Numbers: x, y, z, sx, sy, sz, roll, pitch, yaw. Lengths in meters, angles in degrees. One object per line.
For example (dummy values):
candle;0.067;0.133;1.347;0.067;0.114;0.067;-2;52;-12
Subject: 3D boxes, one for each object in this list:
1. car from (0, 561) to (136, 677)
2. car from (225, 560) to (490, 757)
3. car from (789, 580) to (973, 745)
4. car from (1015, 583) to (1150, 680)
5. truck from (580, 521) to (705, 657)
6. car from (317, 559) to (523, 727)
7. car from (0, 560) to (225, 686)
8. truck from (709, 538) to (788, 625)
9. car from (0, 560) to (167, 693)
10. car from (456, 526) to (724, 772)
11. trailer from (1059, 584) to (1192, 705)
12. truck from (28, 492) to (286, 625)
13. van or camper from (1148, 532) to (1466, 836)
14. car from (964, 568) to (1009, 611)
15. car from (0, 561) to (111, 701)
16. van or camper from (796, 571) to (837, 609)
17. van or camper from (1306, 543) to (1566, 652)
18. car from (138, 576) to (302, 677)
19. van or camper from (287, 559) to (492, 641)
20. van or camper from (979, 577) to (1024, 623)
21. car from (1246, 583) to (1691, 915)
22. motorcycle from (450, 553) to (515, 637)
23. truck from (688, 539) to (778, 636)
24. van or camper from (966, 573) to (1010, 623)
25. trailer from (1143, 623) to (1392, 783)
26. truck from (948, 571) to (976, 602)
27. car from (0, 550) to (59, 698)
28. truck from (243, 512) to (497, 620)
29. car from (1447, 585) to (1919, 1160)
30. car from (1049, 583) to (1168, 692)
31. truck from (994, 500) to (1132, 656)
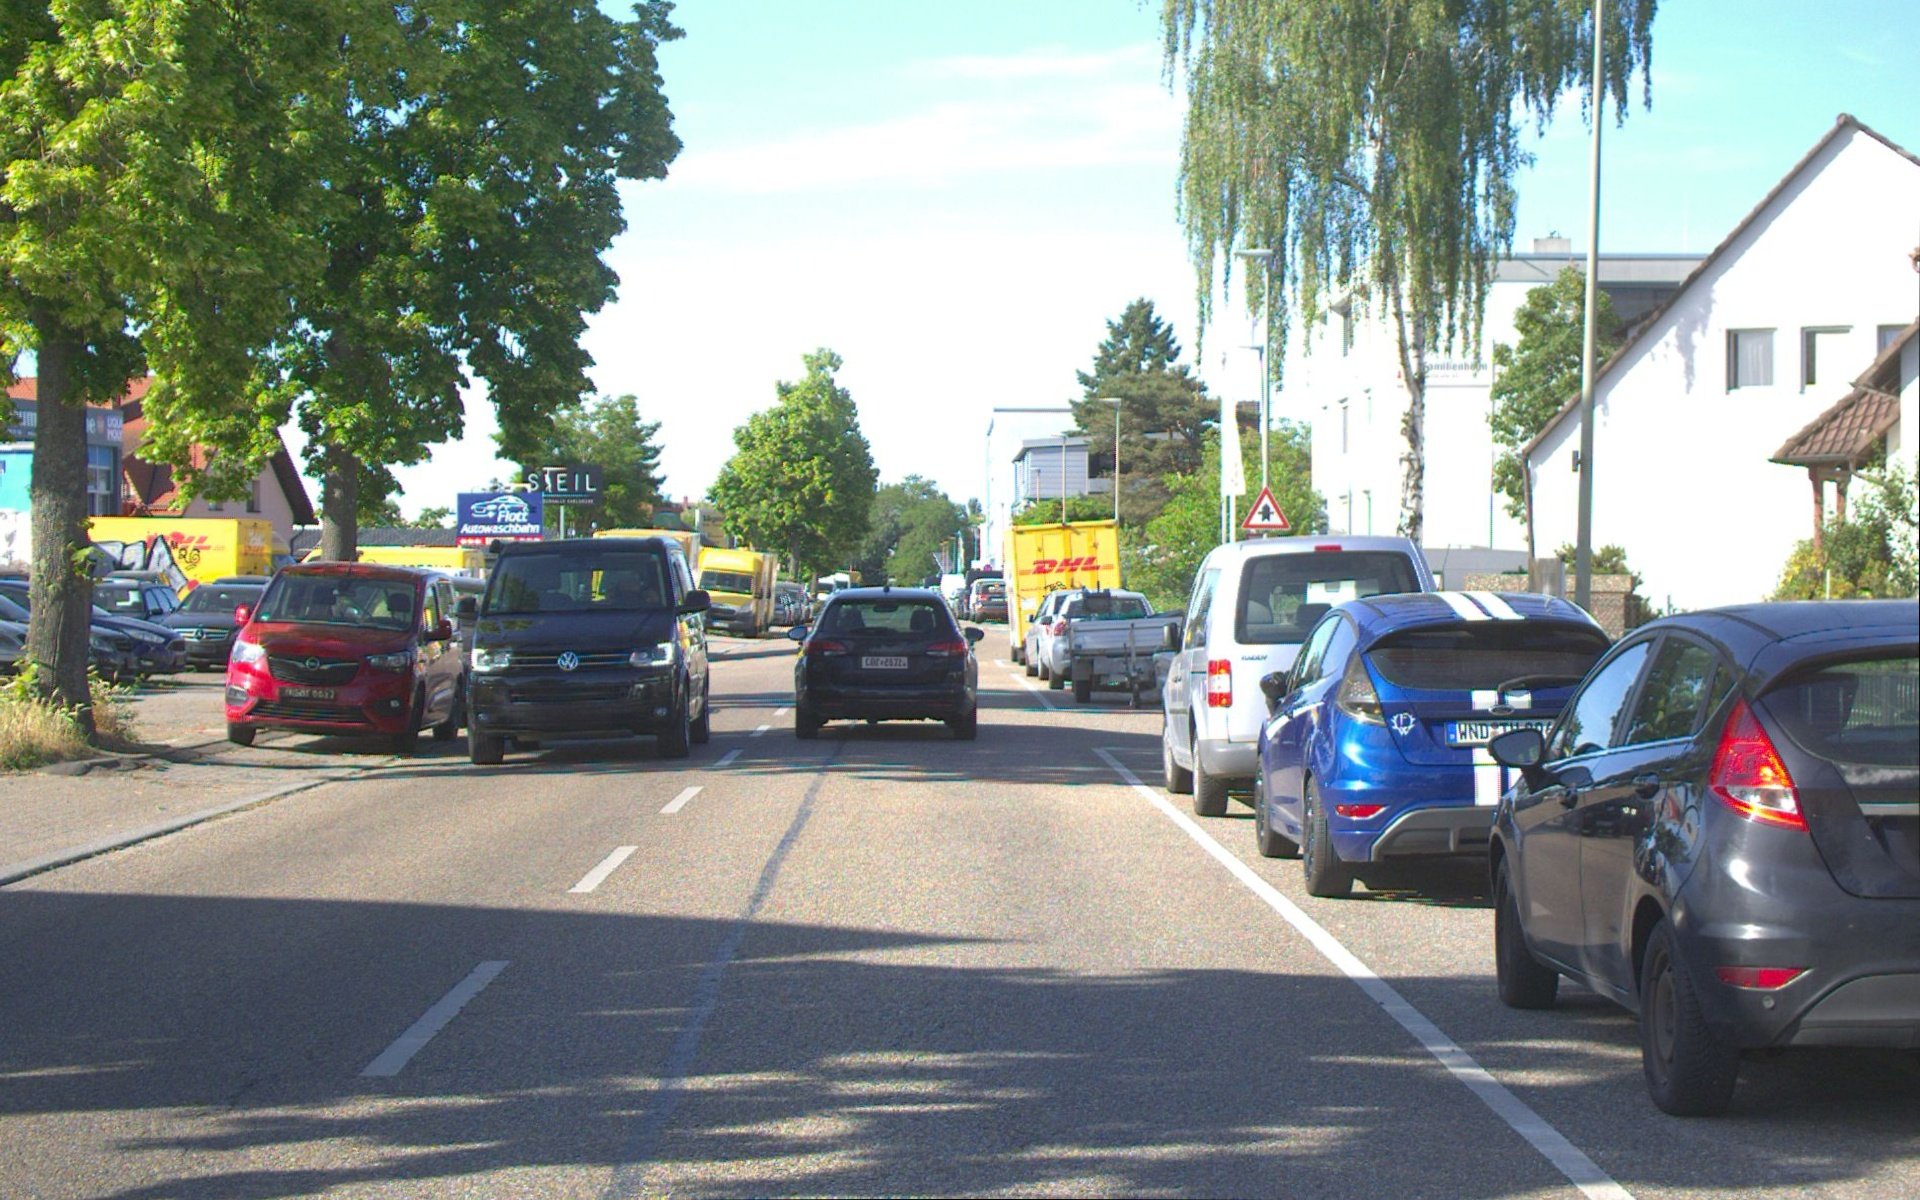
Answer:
car;-15.238;0.277;56.452;1.777;1.742;4.162;0;2;11
car;-5.821;0.524;33.698;1.803;1.746;4.342;2;0;0
car;-0.737;0.579;34.231;1.711;1.527;3.687;0;1;1
car;2.001;0.493;57.351;1.783;1.537;4.538;0;0;-4
truck;-7.411;-0.266;80.975;2.402;2.973;7.246;2;0;-2
car;-6.173;0.453;39.730;1.674;1.765;4.555;2;0;-1
car;-12.596;0.309;47.975;4.249;1.723;1.765;0;0;6
truck;-7.369;-0.643;120.498;2.192;2.892;6.438;2;0;1
car;-12.838;0.343;45.448;4.249;1.723;1.765;0;0;6
car;-3.278;0.398;31.357;1.894;2.024;4.818;-1;0;0
trailer;2.166;0.559;45.574;1.627;1.533;3.198;0;0;0
truck;-20.030;-1.028;85.903;5.671;3.109;2.522;2;1;11
van or camper;2.285;0.513;23.575;1.719;1.884;4.180;1;0;0
car;1.144;-0.459;149.914;1.919;1.819;4.080;0;0;0
car;-13.047;0.378;43.225;4.249;1.723;1.765;0;0;6
van or camper;-9.157;-0.646;219.029;2.323;2.354;6.529;0;0;-4
van or camper;11.296;-0.072;81.610;5.812;2.533;2.290;0;0;-25
car;-12.166;0.469;56.769;1.861;1.584;4.276;0;-2;-1
van or camper;-14.068;-0.013;84.920;4.544;2.007;2.250;0;0;6
van or camper;1.857;-0.014;155.417;1.919;2.013;4.080;0;0;0
car;2.484;0.677;17.572;1.719;1.499;3.563;1;0;0
motorcycle;-11.020;-0.139;79.439;0.781;1.867;3.040;3;1;4
truck;-7.293;-0.396;111.144;2.402;2.973;6.374;2;0;0
van or camper;1.292;-0.114;160.448;1.993;2.302;4.000;0;0;0
trailer;2.525;0.831;28.841;1.627;1.213;3.145;0;0;-3
truck;0.148;-1.018;254.716;1.993;2.280;6.955;0;0;0
car;-13.117;0.283;41.028;4.249;1.723;1.766;0;0;2
truck;-15.060;-0.875;87.862;5.924;2.559;2.223;2;1;11
car;2.757;0.715;11.008;1.718;1.499;3.907;1;0;-2
car;2.236;0.527;51.373;1.674;1.537;4.042;1;0;3
truck;2.018;-0.433;69.642;2.402;2.927;7.016;-2;0;-1
